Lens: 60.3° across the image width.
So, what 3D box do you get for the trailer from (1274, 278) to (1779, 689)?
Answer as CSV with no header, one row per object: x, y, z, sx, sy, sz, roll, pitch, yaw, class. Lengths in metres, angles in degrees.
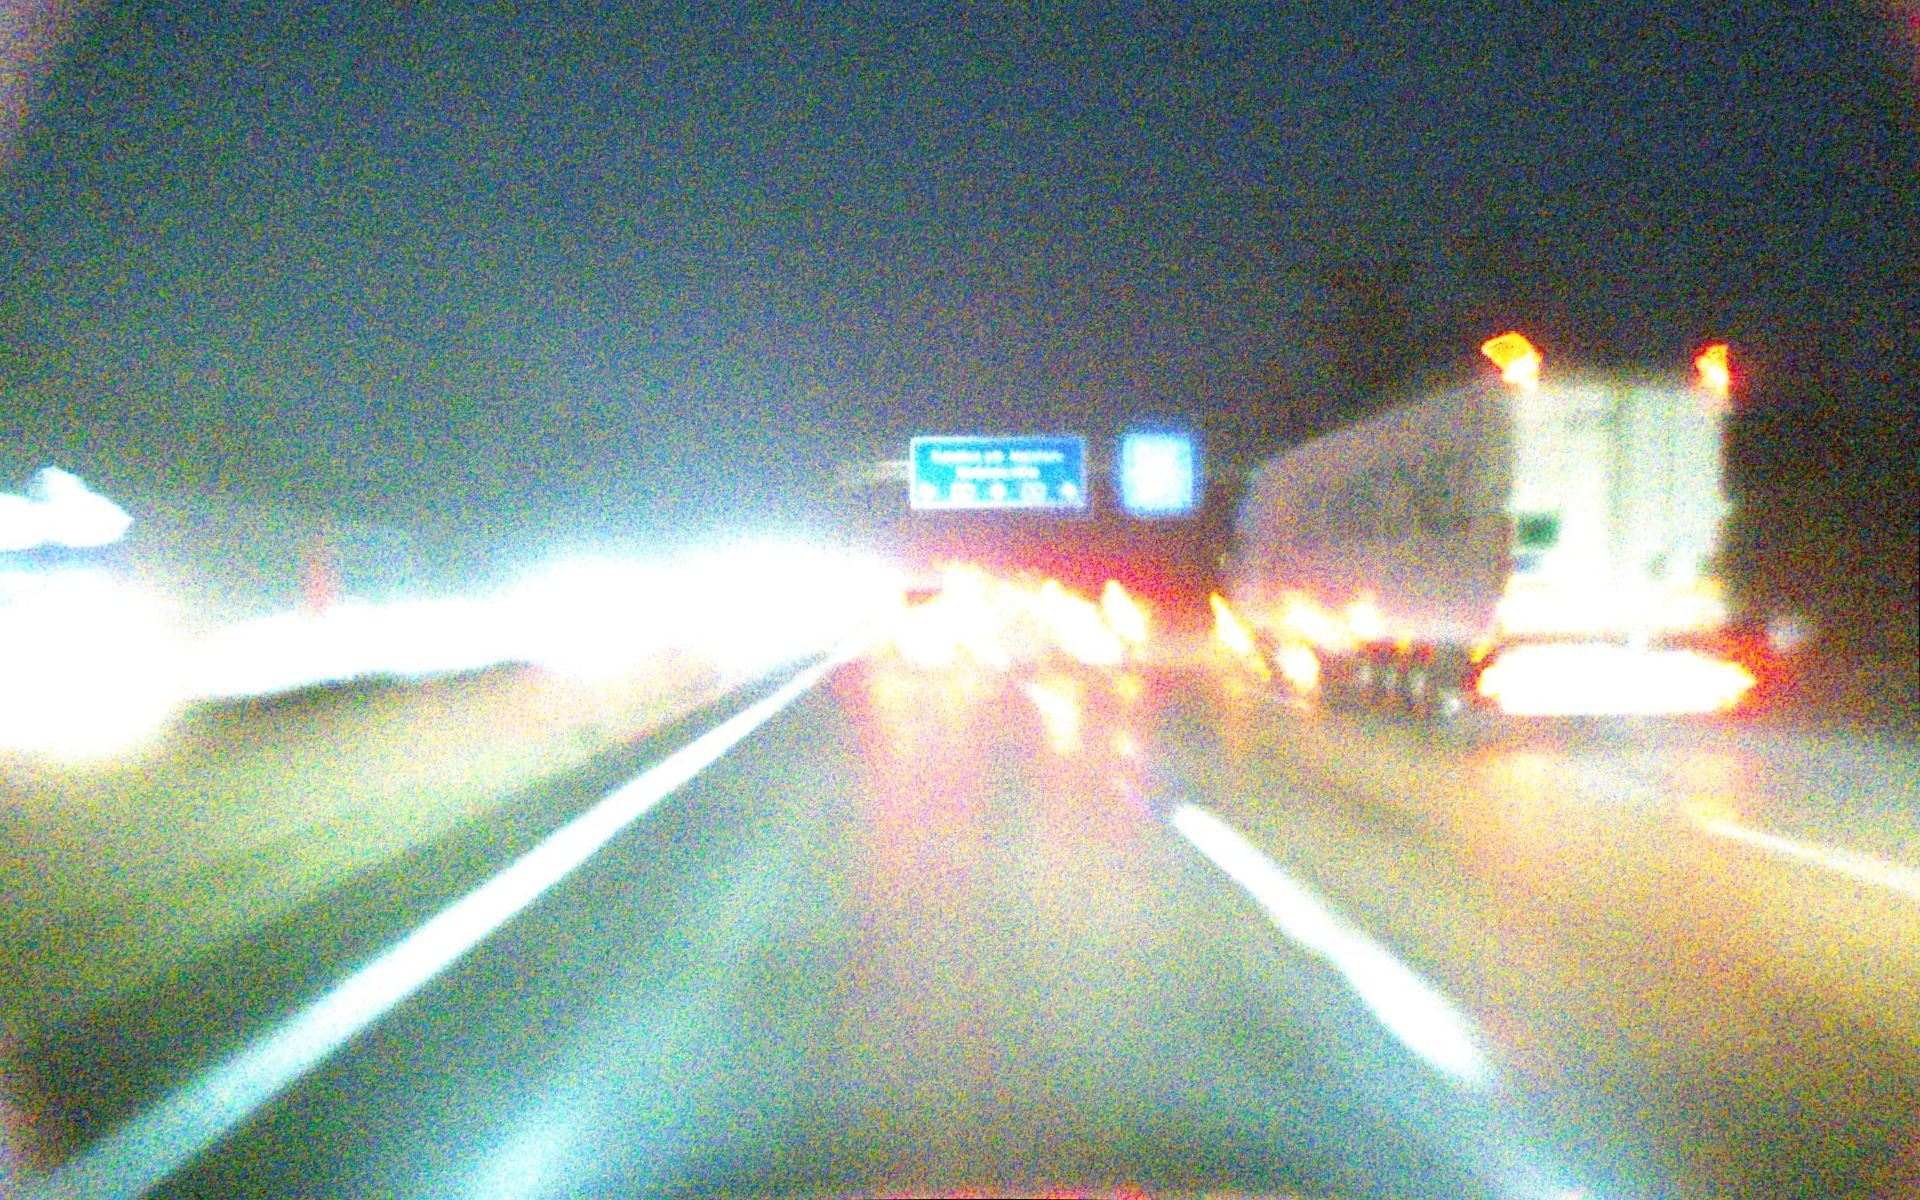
7.119,-1.229,23.444,2.747,4.286,12.093,1,0,-1,trailer

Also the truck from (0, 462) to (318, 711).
-17.282,-0.190,35.150,2.871,4.402,11.433,-2,0,-1,truck

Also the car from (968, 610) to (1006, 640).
1.563,1.440,96.991,2.093,1.646,4.000,1,0,0,car

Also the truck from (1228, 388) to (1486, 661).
6.979,-1.223,30.283,2.747,4.341,7.446,1,0,-1,truck

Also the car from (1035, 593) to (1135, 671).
2.764,0.676,37.218,1.846,1.616,3.999,1,0,-1,car

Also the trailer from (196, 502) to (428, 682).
-17.464,-0.184,45.378,2.880,4.352,8.934,-2,0,-1,trailer

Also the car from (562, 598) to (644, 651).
-13.284,0.875,61.779,2.020,1.856,4.879,1,0,-1,car

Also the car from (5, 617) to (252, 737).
-12.336,1.077,24.835,1.719,1.552,4.114,-1,0,-2,car

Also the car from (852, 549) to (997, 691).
-0.786,0.352,33.906,2.655,2.578,5.828,-2,1,-3,car
